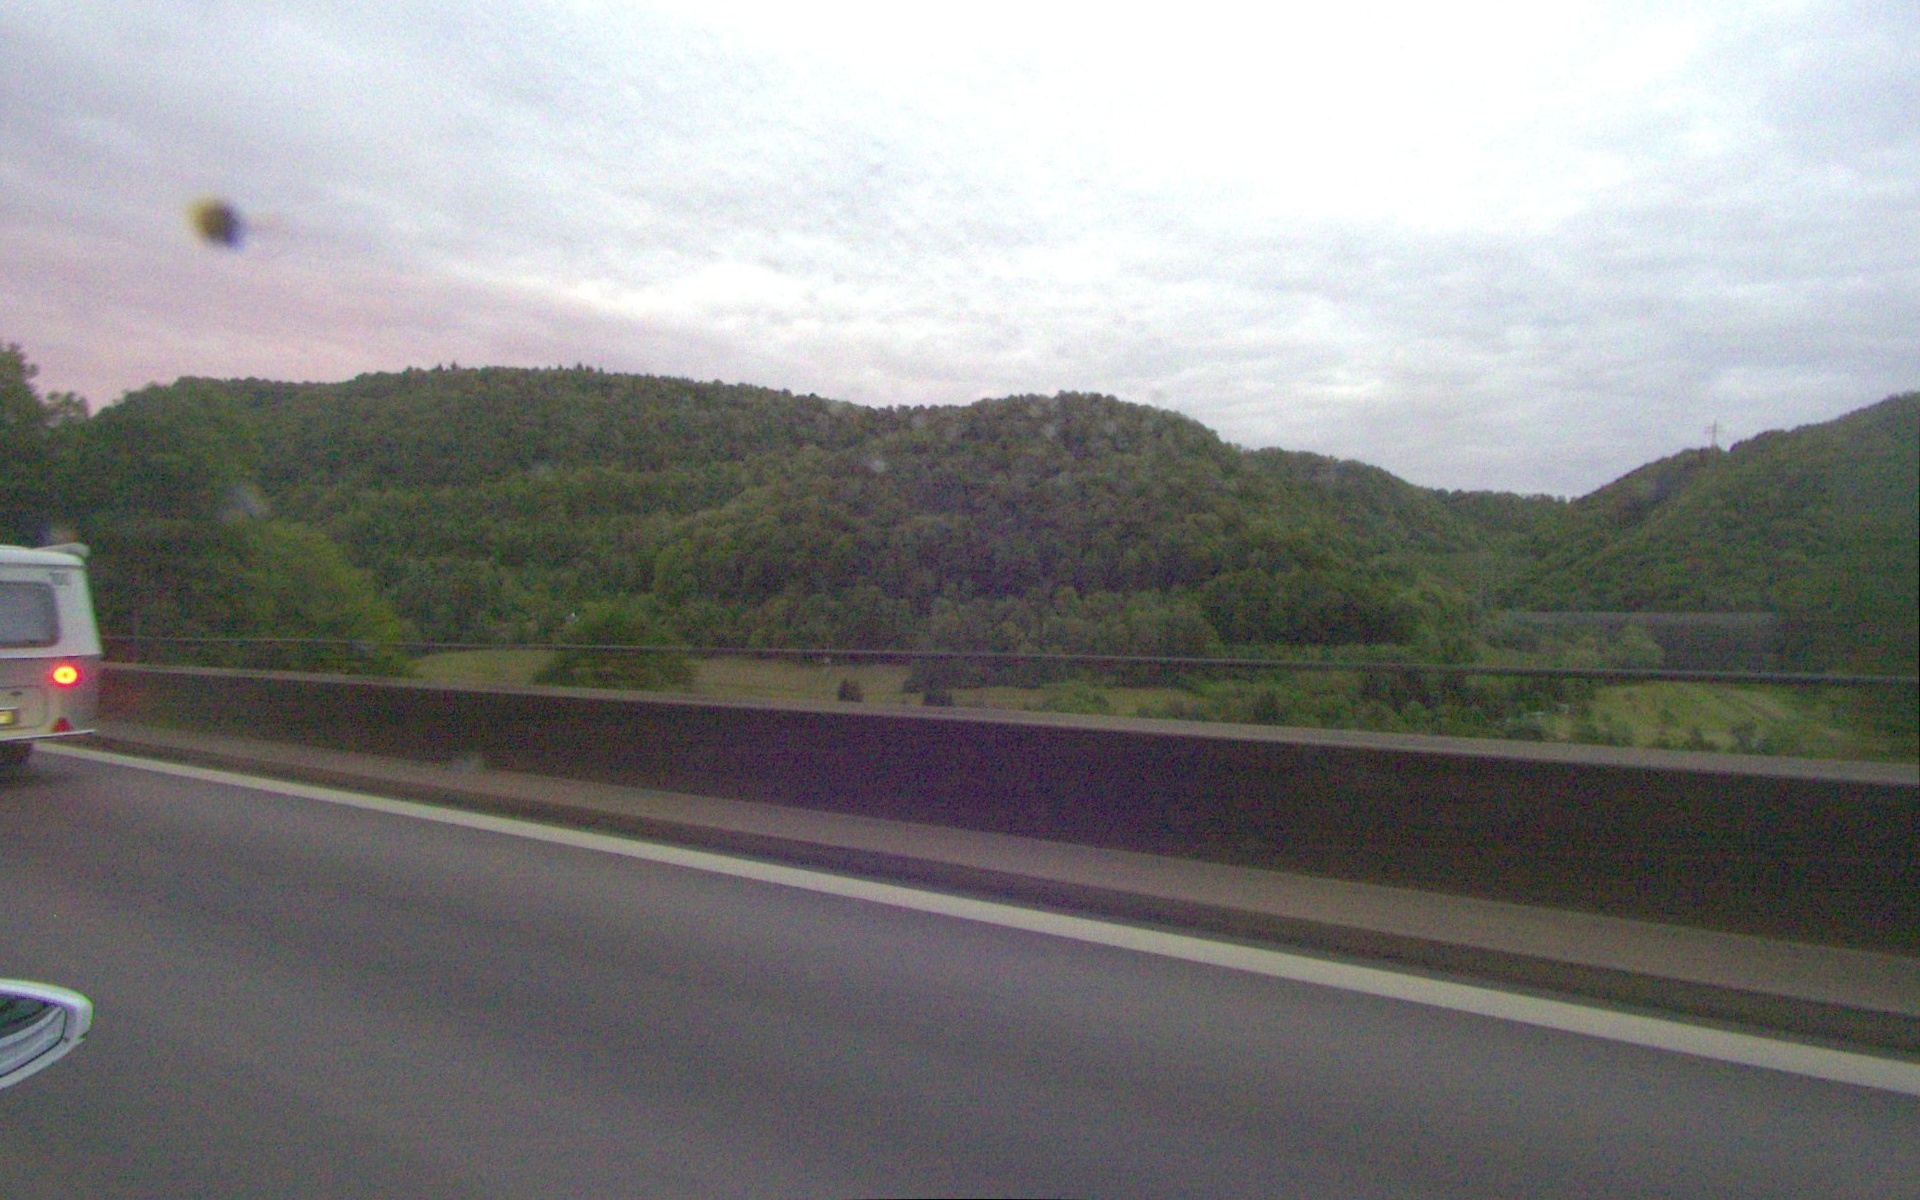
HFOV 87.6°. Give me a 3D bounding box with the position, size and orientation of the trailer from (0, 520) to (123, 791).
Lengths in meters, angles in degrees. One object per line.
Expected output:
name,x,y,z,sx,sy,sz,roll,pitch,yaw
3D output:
trailer,-11.103,0.539,10.279,5.852,2.407,2.050,-1,1,32
